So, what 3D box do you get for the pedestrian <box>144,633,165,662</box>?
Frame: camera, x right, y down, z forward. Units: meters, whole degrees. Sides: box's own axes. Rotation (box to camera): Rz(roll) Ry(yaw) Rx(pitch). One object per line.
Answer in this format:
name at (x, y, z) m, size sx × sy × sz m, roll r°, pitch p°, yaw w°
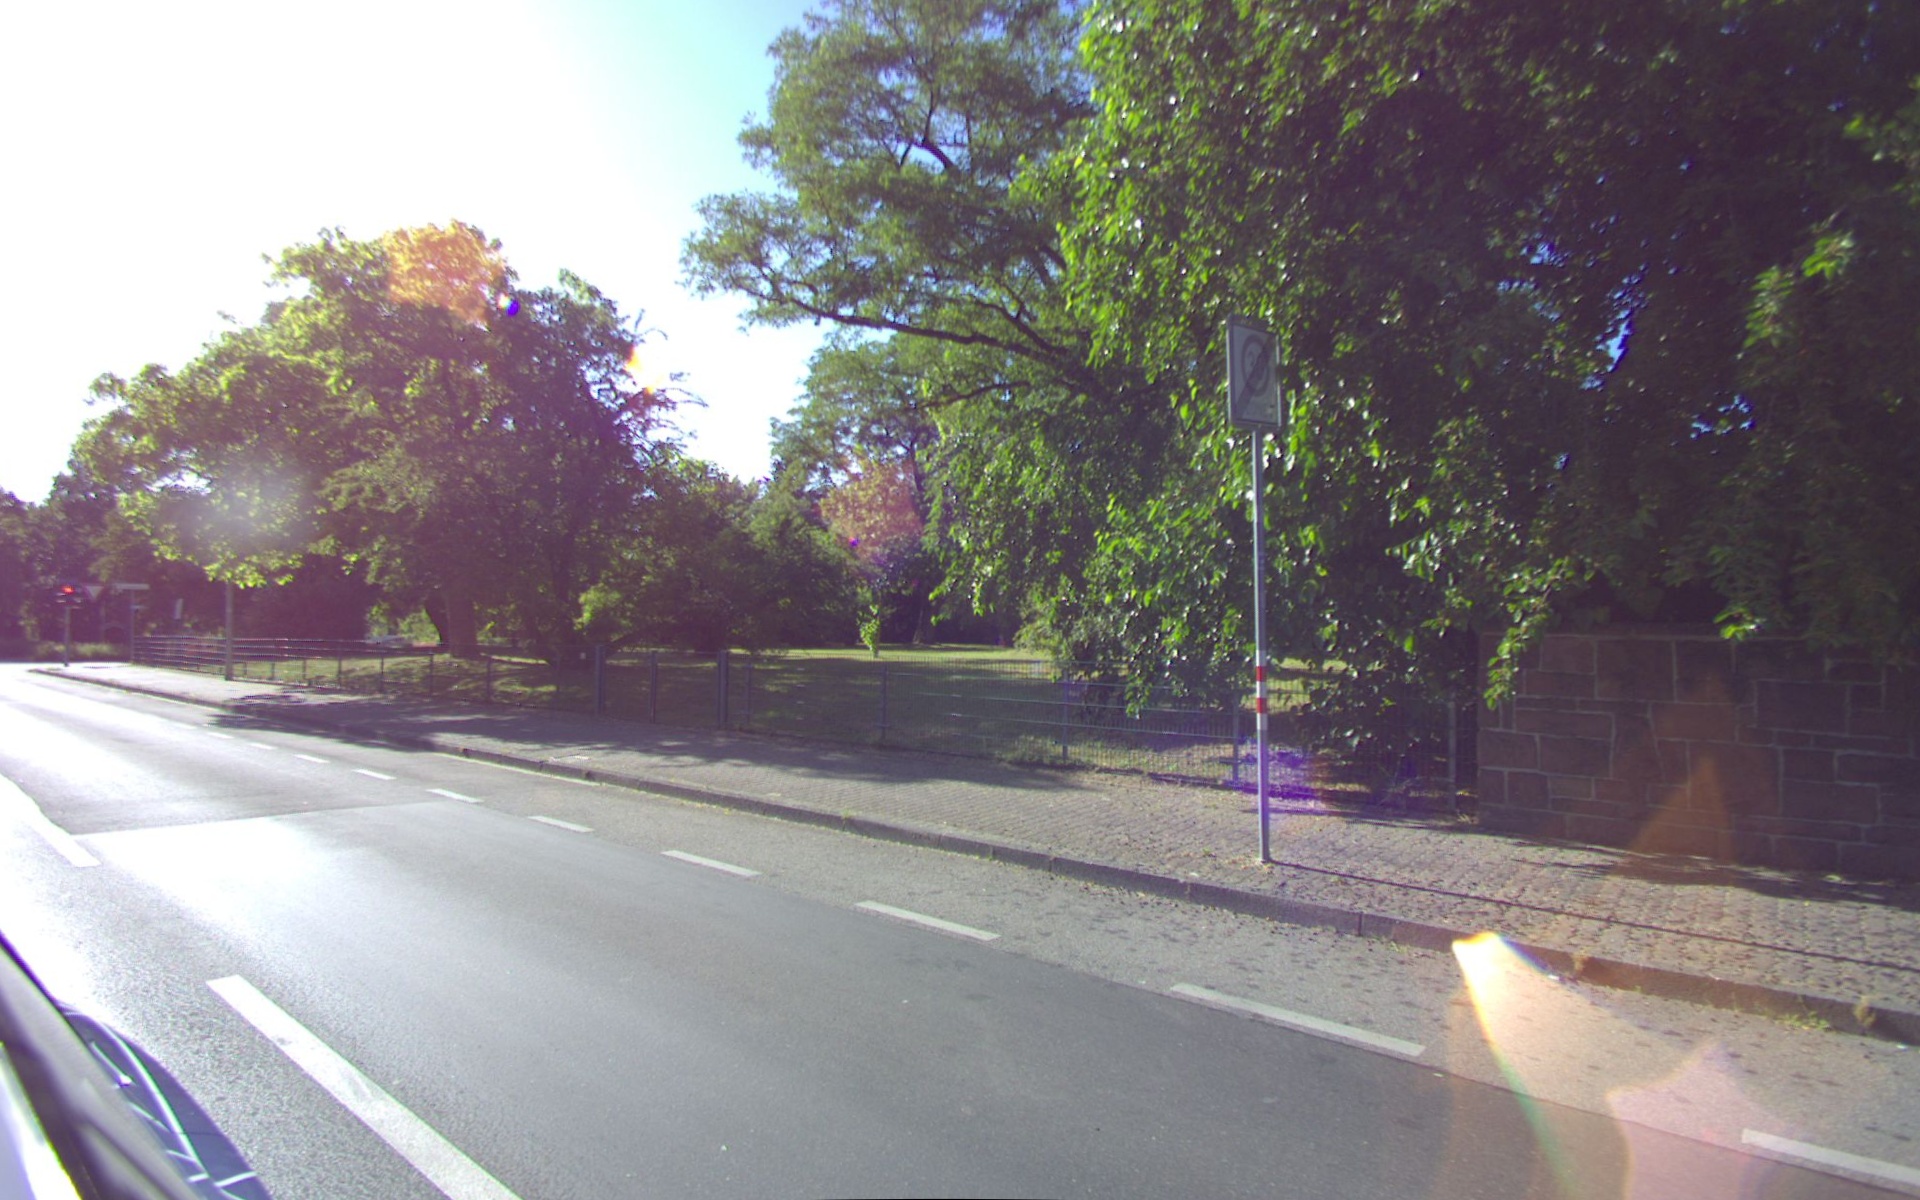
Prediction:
pedestrian at (-45.686, 2.685, 57.403) m, size 0.647 × 1.646 × 0.790 m, roll -3°, pitch -2°, yaw 41°
